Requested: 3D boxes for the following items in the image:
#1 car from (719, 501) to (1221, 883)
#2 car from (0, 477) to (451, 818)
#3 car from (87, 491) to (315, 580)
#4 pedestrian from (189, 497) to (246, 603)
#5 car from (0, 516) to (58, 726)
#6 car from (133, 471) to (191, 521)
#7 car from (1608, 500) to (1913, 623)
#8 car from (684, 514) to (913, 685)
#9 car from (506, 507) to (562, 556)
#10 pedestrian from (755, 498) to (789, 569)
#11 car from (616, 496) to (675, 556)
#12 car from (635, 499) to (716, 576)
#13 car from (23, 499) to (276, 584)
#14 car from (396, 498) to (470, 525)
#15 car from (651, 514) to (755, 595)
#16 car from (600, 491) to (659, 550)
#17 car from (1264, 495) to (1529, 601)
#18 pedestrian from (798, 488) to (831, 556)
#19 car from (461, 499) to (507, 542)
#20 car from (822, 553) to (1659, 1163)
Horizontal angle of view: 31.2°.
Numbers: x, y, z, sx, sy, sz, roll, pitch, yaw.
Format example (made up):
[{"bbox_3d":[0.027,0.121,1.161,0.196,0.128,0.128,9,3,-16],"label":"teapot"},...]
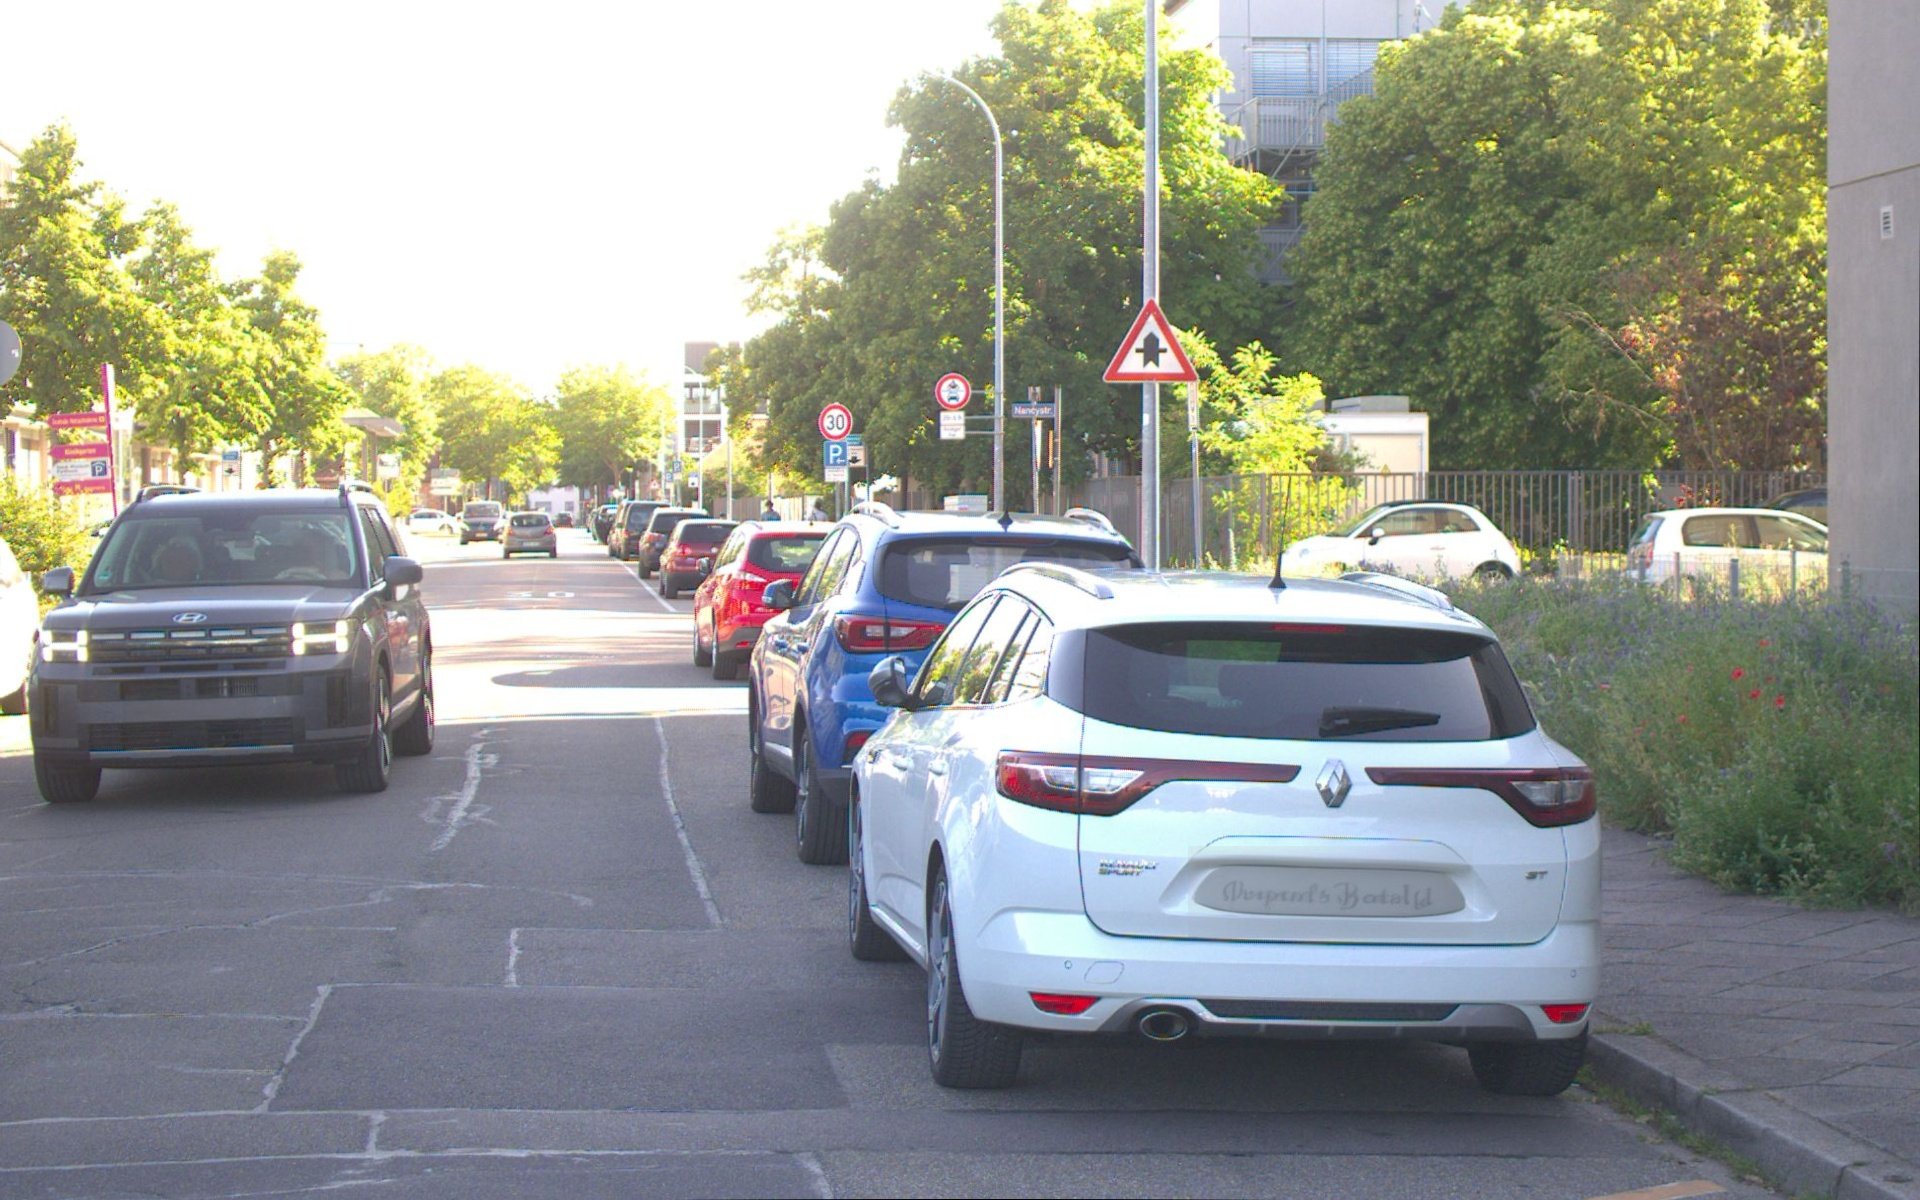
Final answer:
[{"bbox_3d":[-0.111,0.336,16.918,1.816,1.594,4.629,1,1,-8],"label":"car"},{"bbox_3d":[-4.259,0.183,20.426,1.942,1.721,4.839,-2,2,-3],"label":"car"},{"bbox_3d":[-16.831,-1.447,76.409,4.741,1.858,1.828,1,2,-6],"label":"car"},{"bbox_3d":[-13.168,-0.894,60.968,0.857,1.836,0.826,1,1,-5],"label":"pedestrian"},{"bbox_3d":[-7.858,0.126,25.374,1.695,1.508,4.518,2,1,-7],"label":"car"},{"bbox_3d":[-33.965,-4.418,146.442,1.993,2.007,4.001,0,0,-7],"label":"car"},{"bbox_3d":[9.807,-0.488,42.287,3.326,1.453,1.715,0,2,-2],"label":"car"},{"bbox_3d":[-1.632,-0.057,33.290,1.818,1.494,4.453,1,1,-7],"label":"car"},{"bbox_3d":[-13.662,-2.197,110.431,1.743,1.538,4.001,0,1,-7],"label":"car"},{"bbox_3d":[-4.712,-1.676,86.137,0.717,1.752,0.885,-3,2,-6],"label":"pedestrian"},{"bbox_3d":[-9.731,-2.296,106.212,1.732,1.824,3.906,0,2,-6],"label":"car"},{"bbox_3d":[-6.771,-1.504,81.432,1.811,1.660,4.593,1,2,-6],"label":"car"},{"bbox_3d":[-15.983,-1.162,67.943,4.611,1.645,1.868,0,1,-3],"label":"car"},{"bbox_3d":[-29.431,-4.939,192.087,3.986,1.514,2.000,0,0,-6],"label":"car"},{"bbox_3d":[-4.931,-0.898,65.503,1.719,1.450,4.653,1,1,-7],"label":"car"},{"bbox_3d":[-11.410,-2.763,118.585,1.874,1.971,4.001,-1,2,-7],"label":"car"},{"bbox_3d":[6.318,-0.770,49.971,3.546,1.481,1.601,-1,2,-6],"label":"car"},{"bbox_3d":[-3.610,-1.925,85.066,0.698,1.655,0.752,-2,2,-7],"label":"pedestrian"},{"bbox_3d":[-20.990,-3.520,151.514,1.954,1.861,5.256,-1,2,-8],"label":"car"},{"bbox_3d":[0.610,0.615,10.765,1.744,1.424,4.587,1,1,-6],"label":"car"}]
